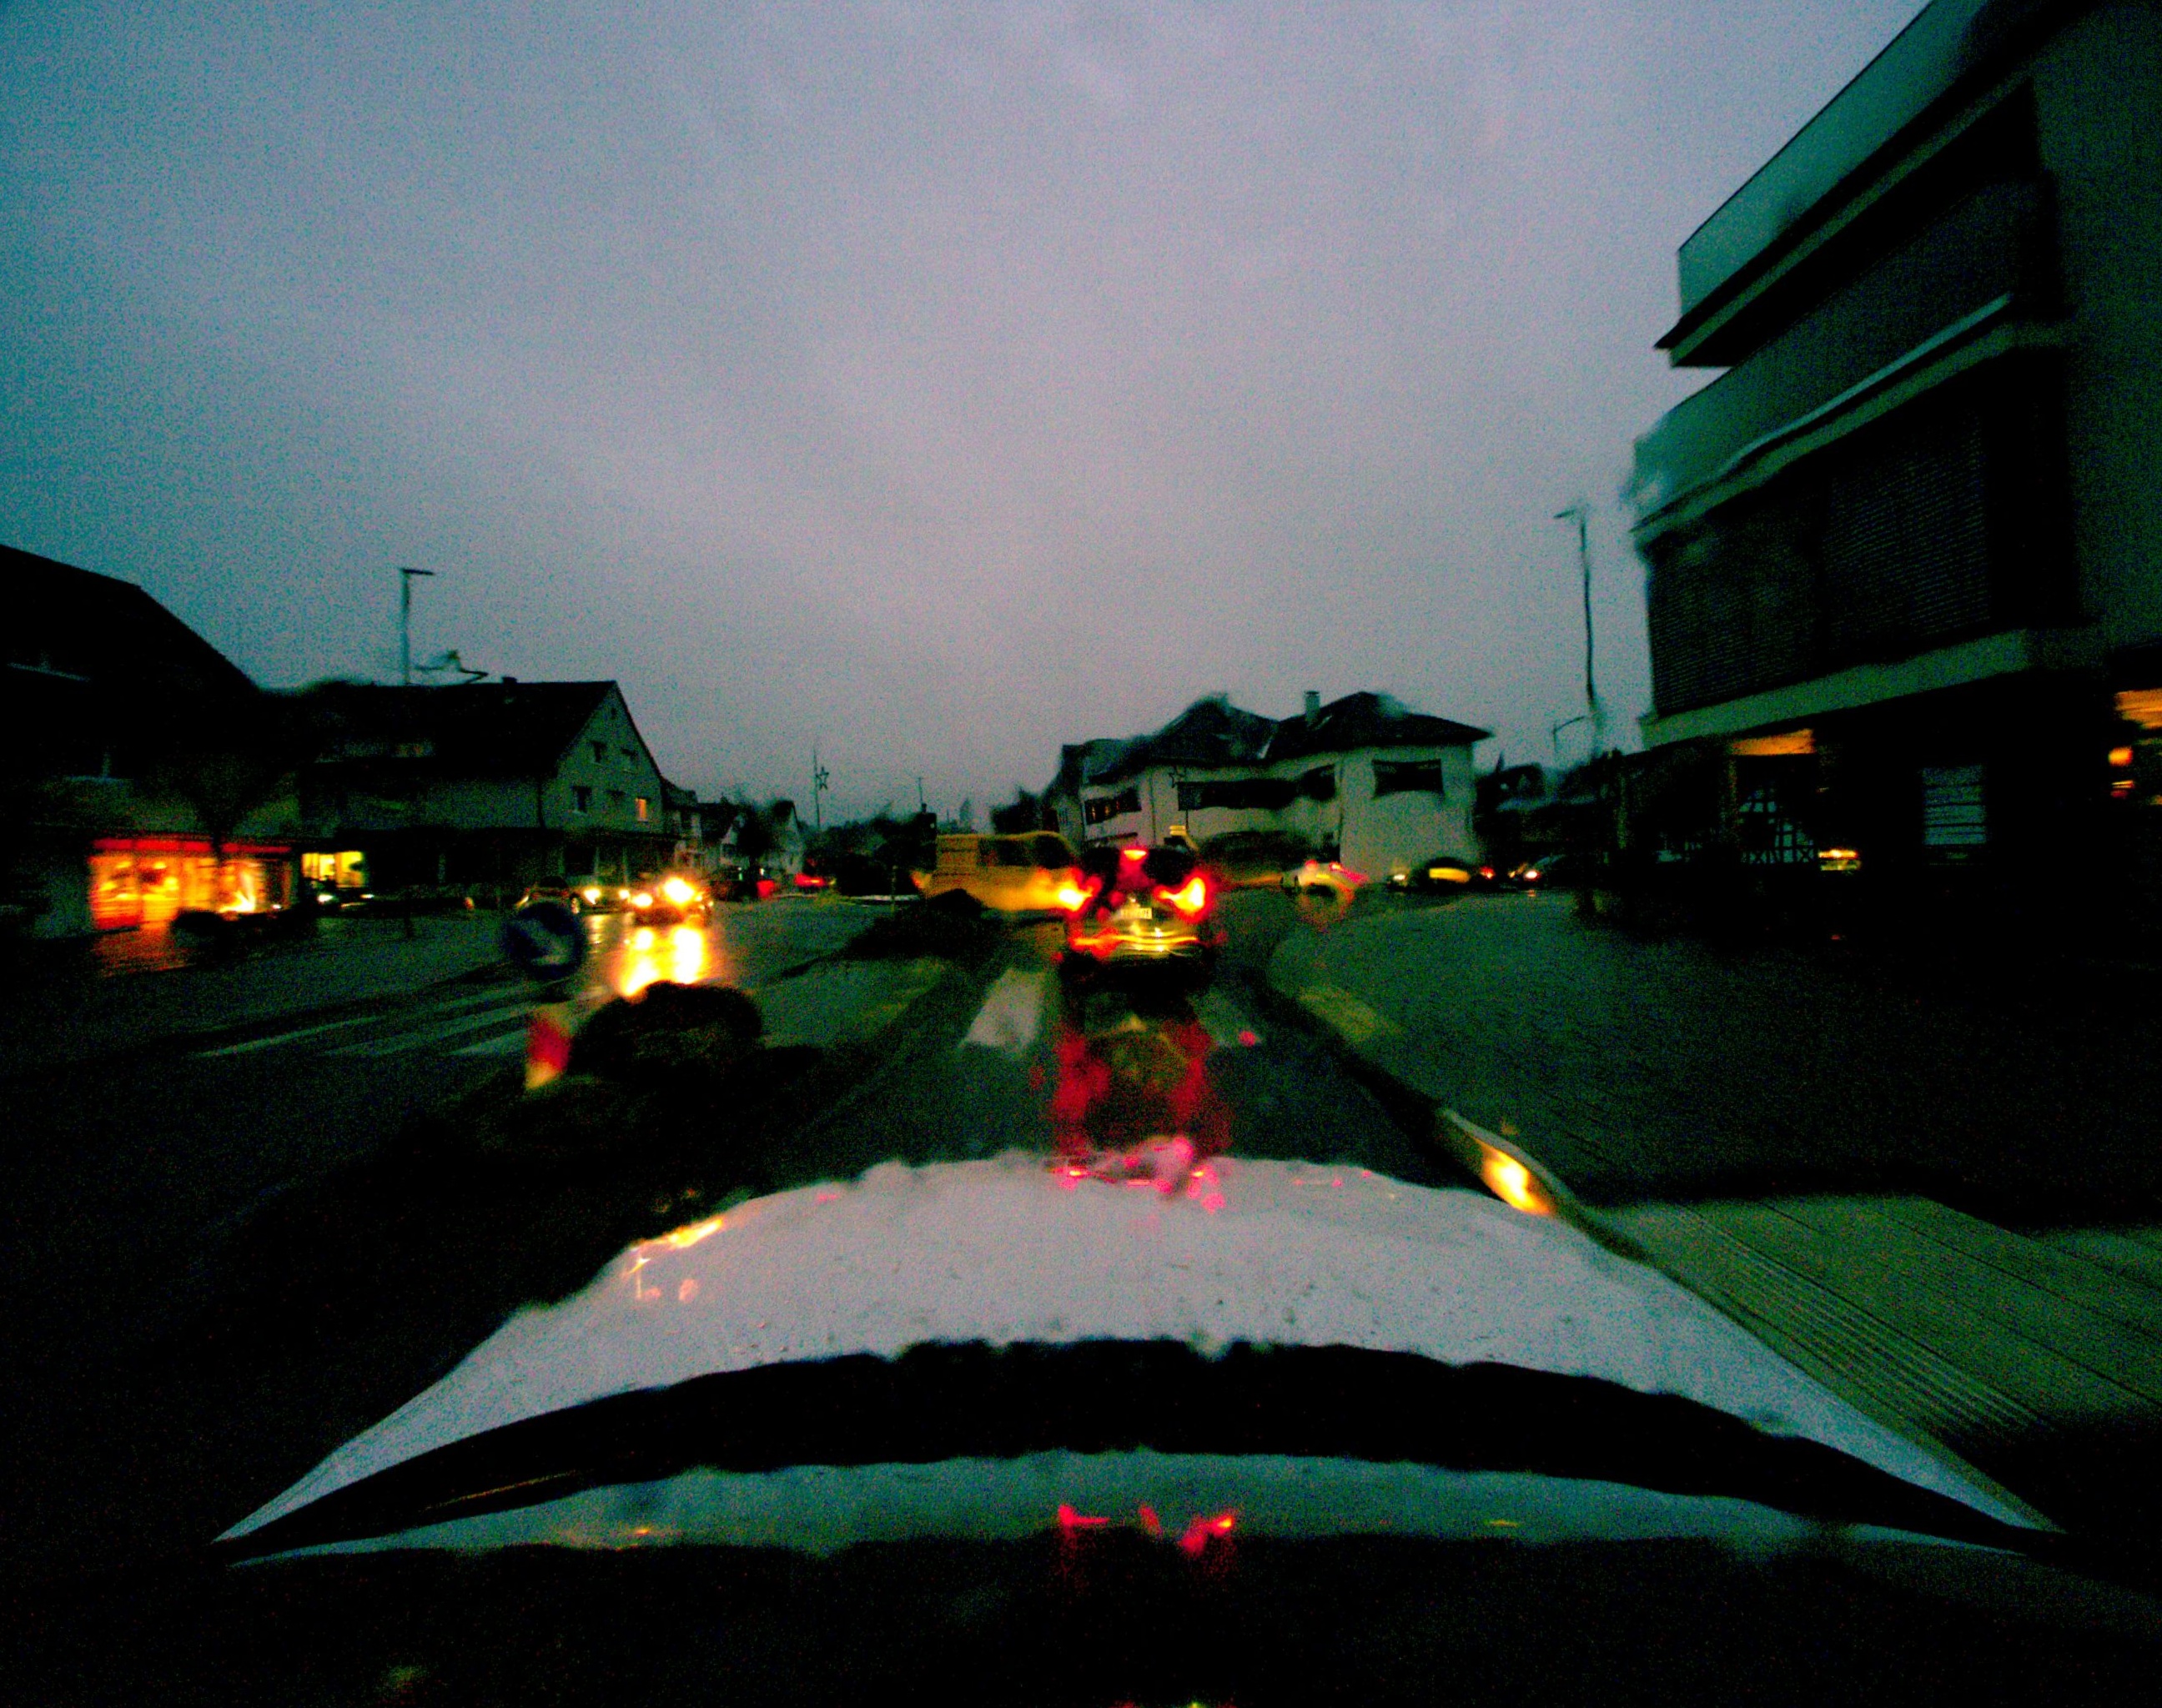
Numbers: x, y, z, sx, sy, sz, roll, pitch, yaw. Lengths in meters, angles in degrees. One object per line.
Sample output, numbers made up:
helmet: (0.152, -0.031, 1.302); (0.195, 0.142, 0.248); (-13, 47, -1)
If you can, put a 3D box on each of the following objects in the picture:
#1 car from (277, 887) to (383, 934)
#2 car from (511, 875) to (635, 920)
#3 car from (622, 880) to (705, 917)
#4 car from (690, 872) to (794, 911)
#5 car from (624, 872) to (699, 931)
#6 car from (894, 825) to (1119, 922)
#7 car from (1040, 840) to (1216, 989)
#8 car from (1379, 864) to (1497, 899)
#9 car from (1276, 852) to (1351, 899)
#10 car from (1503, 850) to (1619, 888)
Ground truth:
car: (-30.377, 2.218, 32.913); (4.573, 1.593, 1.966); (0, 0, 32)
car: (-17.892, 1.531, 28.706); (3.795, 1.422, 1.724); (-3, -3, 20)
car: (-17.396, 1.846, 34.121); (1.707, 1.422, 4.004); (-2, -3, -5)
car: (-15.565, 1.699, 37.551); (4.048, 1.662, 1.701); (-1, -1, -5)
car: (-11.421, 1.233, 22.331); (1.510, 1.411, 3.341); (-1, -1, -23)
car: (-1.590, 0.438, 18.699); (4.866, 2.014, 2.000); (-1, -1, 1)
car: (0.735, 0.676, 10.942); (1.906, 1.615, 3.957); (-1, 0, 6)
car: (15.163, 1.194, 34.700); (4.210, 1.384, 1.848); (-1, -3, -3)
car: (8.235, 0.719, 29.204); (1.770, 1.539, 3.936); (-2, 0, 4)
car: (20.500, 0.642, 34.884); (3.973, 1.552, 1.696); (-1, -2, 0)
